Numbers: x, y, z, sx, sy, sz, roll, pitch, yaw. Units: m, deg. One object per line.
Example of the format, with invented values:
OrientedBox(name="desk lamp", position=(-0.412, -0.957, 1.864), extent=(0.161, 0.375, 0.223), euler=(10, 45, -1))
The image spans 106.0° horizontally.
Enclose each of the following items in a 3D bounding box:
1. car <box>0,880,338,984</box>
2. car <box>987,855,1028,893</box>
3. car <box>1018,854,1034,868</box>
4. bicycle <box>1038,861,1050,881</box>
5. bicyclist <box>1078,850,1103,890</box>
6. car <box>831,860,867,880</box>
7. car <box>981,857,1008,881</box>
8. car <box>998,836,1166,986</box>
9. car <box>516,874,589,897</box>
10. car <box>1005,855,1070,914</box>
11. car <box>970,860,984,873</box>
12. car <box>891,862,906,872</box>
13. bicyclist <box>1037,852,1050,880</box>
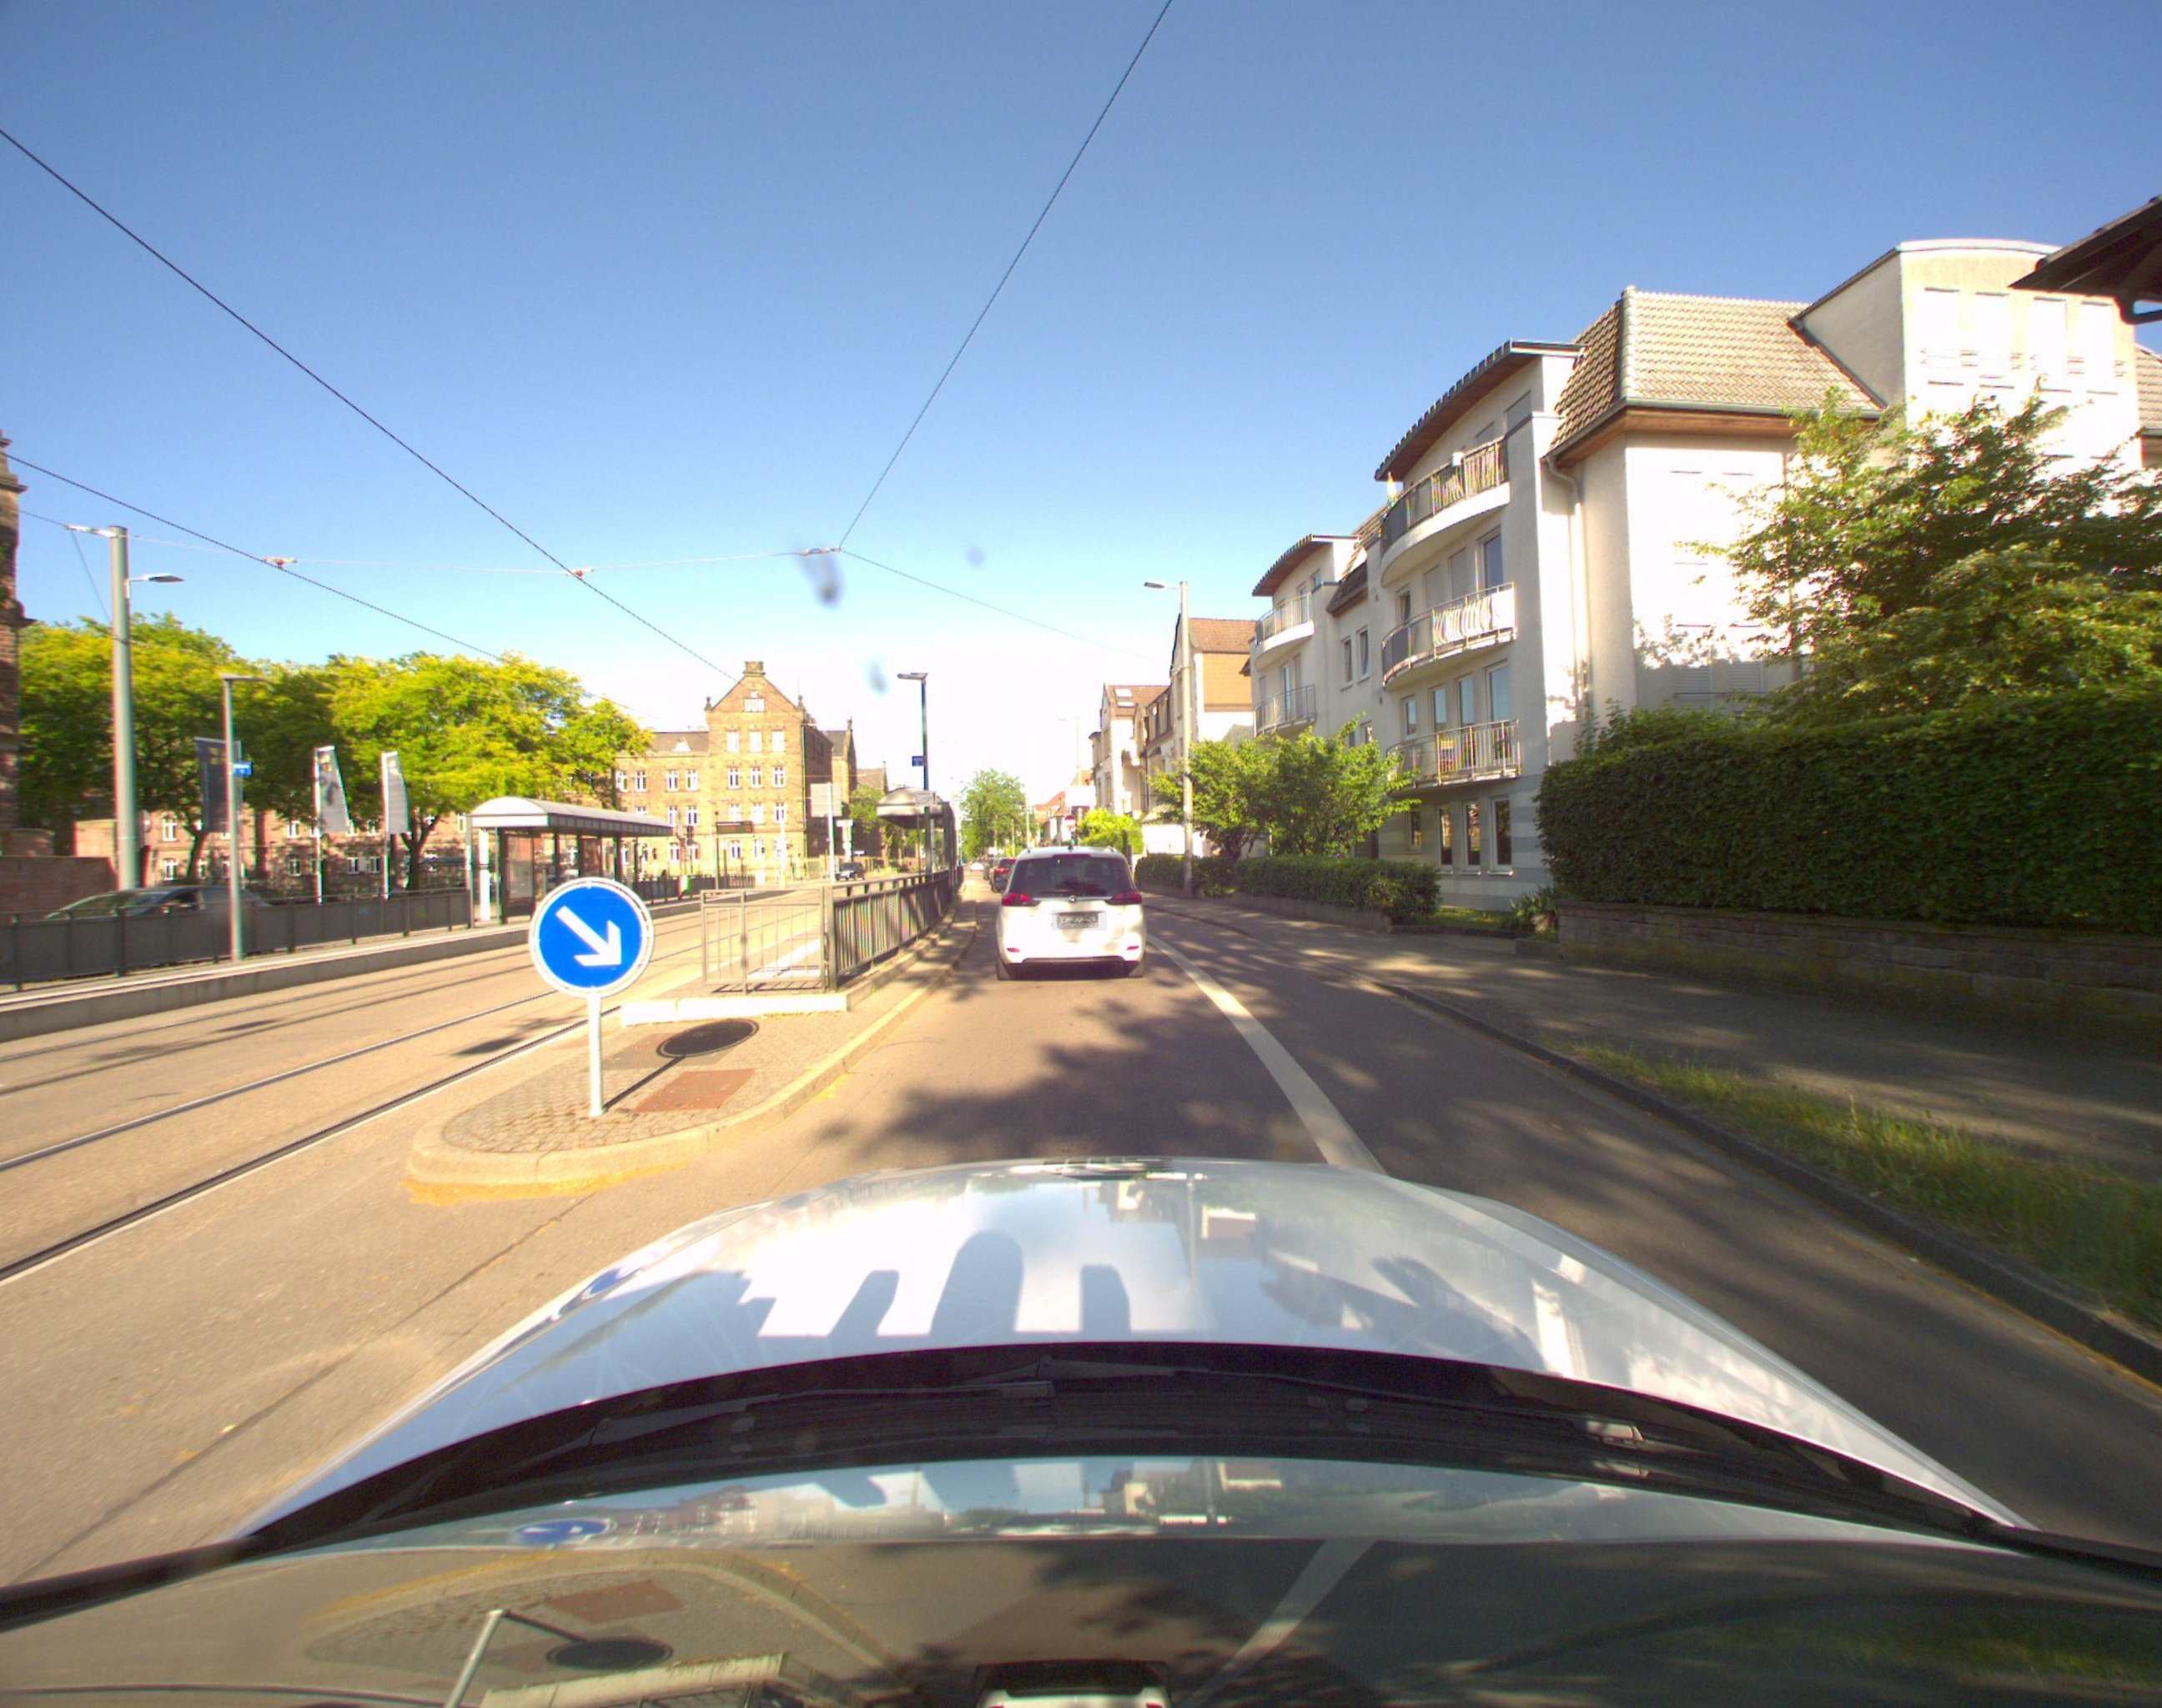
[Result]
OrientedBox(name="car", position=(-16.485, 1.306, 15.092), extent=(1.852, 1.403, 3.977), euler=(-5, 0, -4))
OrientedBox(name="car", position=(-3.494, 0.905, 38.288), extent=(1.774, 1.632, 3.870), euler=(-1, -1, -7))
OrientedBox(name="car", position=(-6.718, 0.822, 98.478), extent=(1.773, 1.632, 3.873), euler=(-1, -1, -6))
OrientedBox(name="bicycle", position=(-2.244, 1.042, 49.296), extent=(0.684, 1.157, 1.616), euler=(-1, -1, -5))
OrientedBox(name="bicyclist", position=(0.366, 0.620, 31.510), extent=(0.821, 1.501, 0.931), euler=(-1, -1, -8))
OrientedBox(name="car", position=(-21.310, 1.446, 74.925), extent=(1.899, 1.677, 4.360), euler=(-2, 0, 2))
OrientedBox(name="car", position=(-6.082, 1.040, 57.467), extent=(1.773, 1.632, 3.873), euler=(-1, -1, -5))
OrientedBox(name="car", position=(-0.179, 0.666, 11.219), extent=(1.833, 1.642, 3.909), euler=(-1, -1, -7))
OrientedBox(name="car", position=(-39.189, 2.349, 60.432), extent=(4.059, 1.522, 1.873), euler=(-2, -1, -6))
OrientedBox(name="car", position=(-1.277, 0.785, 22.561), extent=(1.584, 1.420, 3.892), euler=(-2, 0, -6))
OrientedBox(name="car", position=(-14.391, 1.690, 113.243), extent=(1.773, 1.692, 3.873), euler=(-1, -1, -5))
OrientedBox(name="car", position=(-31.080, 2.264, 138.685), extent=(1.990, 1.596, 3.993), euler=(-1, -1, -5))
OrientedBox(name="bicyclist", position=(-2.260, 0.734, 49.366), extent=(0.684, 1.634, 1.013), euler=(-1, -1, -5))
